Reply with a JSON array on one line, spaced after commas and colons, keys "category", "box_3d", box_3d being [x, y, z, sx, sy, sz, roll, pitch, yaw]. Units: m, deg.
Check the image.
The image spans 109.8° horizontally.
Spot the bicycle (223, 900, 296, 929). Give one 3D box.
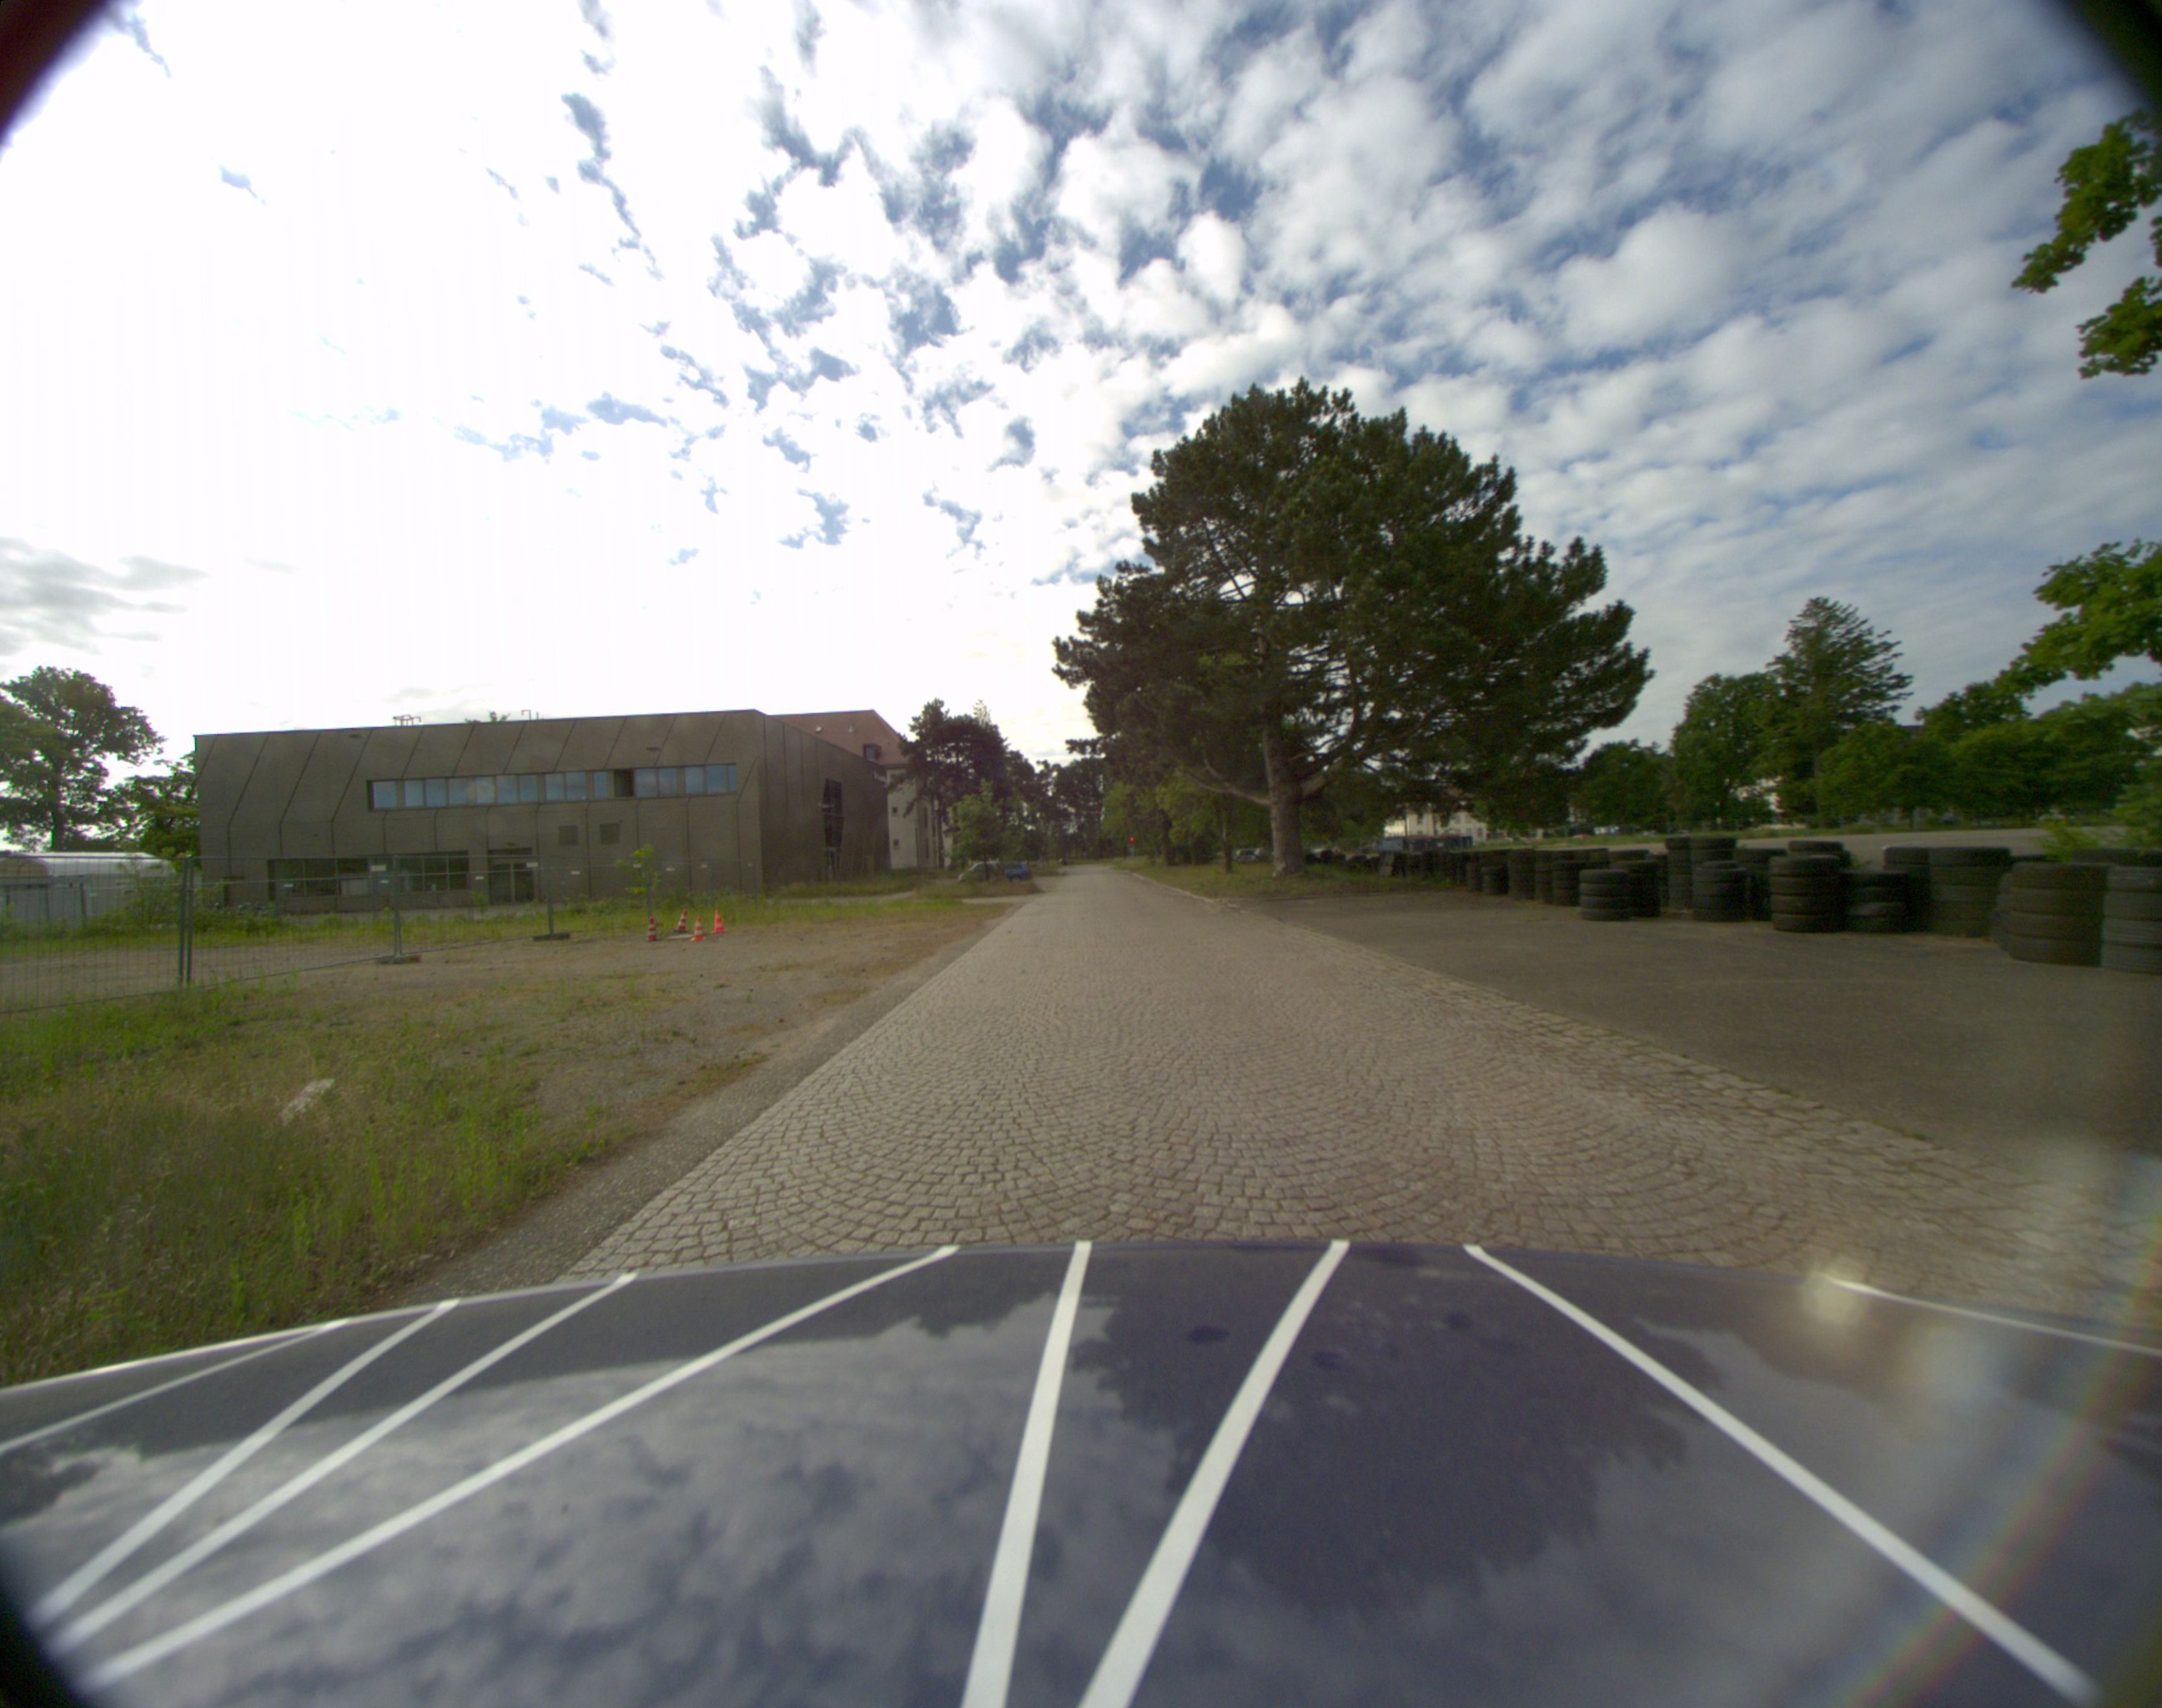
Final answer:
[{"category": "bicycle", "box_3d": [-35.343, 2.581, 32.732, 0.836, 1.019, 1.989, -3, 1, 3]}]

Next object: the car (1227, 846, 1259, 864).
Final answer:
[{"category": "car", "box_3d": [13.407, 0.098, 63.053, 1.670, 1.402, 3.723, -3, 0, -2]}]

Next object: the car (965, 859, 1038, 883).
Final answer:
[{"category": "car", "box_3d": [-5.094, 1.094, 48.944, 4.537, 1.441, 1.931, -1, 0, -2]}]

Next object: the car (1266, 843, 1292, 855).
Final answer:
[{"category": "car", "box_3d": [26.305, -0.668, 101.000, 1.999, 1.441, 4.452, -3, 0, -3]}]

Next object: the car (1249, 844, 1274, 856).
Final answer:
[{"category": "car", "box_3d": [23.797, -0.522, 100.540, 1.999, 1.441, 4.452, -3, 0, -3]}]

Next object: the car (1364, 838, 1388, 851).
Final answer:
[{"category": "car", "box_3d": [43.397, -1.391, 111.938, 1.749, 1.674, 3.803, -3, 0, -4]}]

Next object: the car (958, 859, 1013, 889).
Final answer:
[{"category": "car", "box_3d": [-5.187, 1.102, 41.604, 2.748, 1.573, 1.682, -1, 0, 0]}]

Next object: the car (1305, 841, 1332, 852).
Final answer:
[{"category": "car", "box_3d": [31.767, -0.978, 101.584, 1.999, 1.441, 4.452, -3, 0, -3]}]

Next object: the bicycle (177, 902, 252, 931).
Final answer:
[{"category": "bicycle", "box_3d": [-37.454, 2.696, 32.895, 0.836, 1.019, 1.989, -3, 1, 3]}]

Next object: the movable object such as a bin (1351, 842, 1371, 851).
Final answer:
[{"category": "movable object such as a bin", "box_3d": [32.683, -0.872, 88.773, 1.057, 1.064, 2.719, -3, 0, -8]}]

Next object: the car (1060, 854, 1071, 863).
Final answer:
[{"category": "car", "box_3d": [-3.371, 0.881, 164.156, 1.999, 1.777, 3.998, -3, 0, -5]}]
